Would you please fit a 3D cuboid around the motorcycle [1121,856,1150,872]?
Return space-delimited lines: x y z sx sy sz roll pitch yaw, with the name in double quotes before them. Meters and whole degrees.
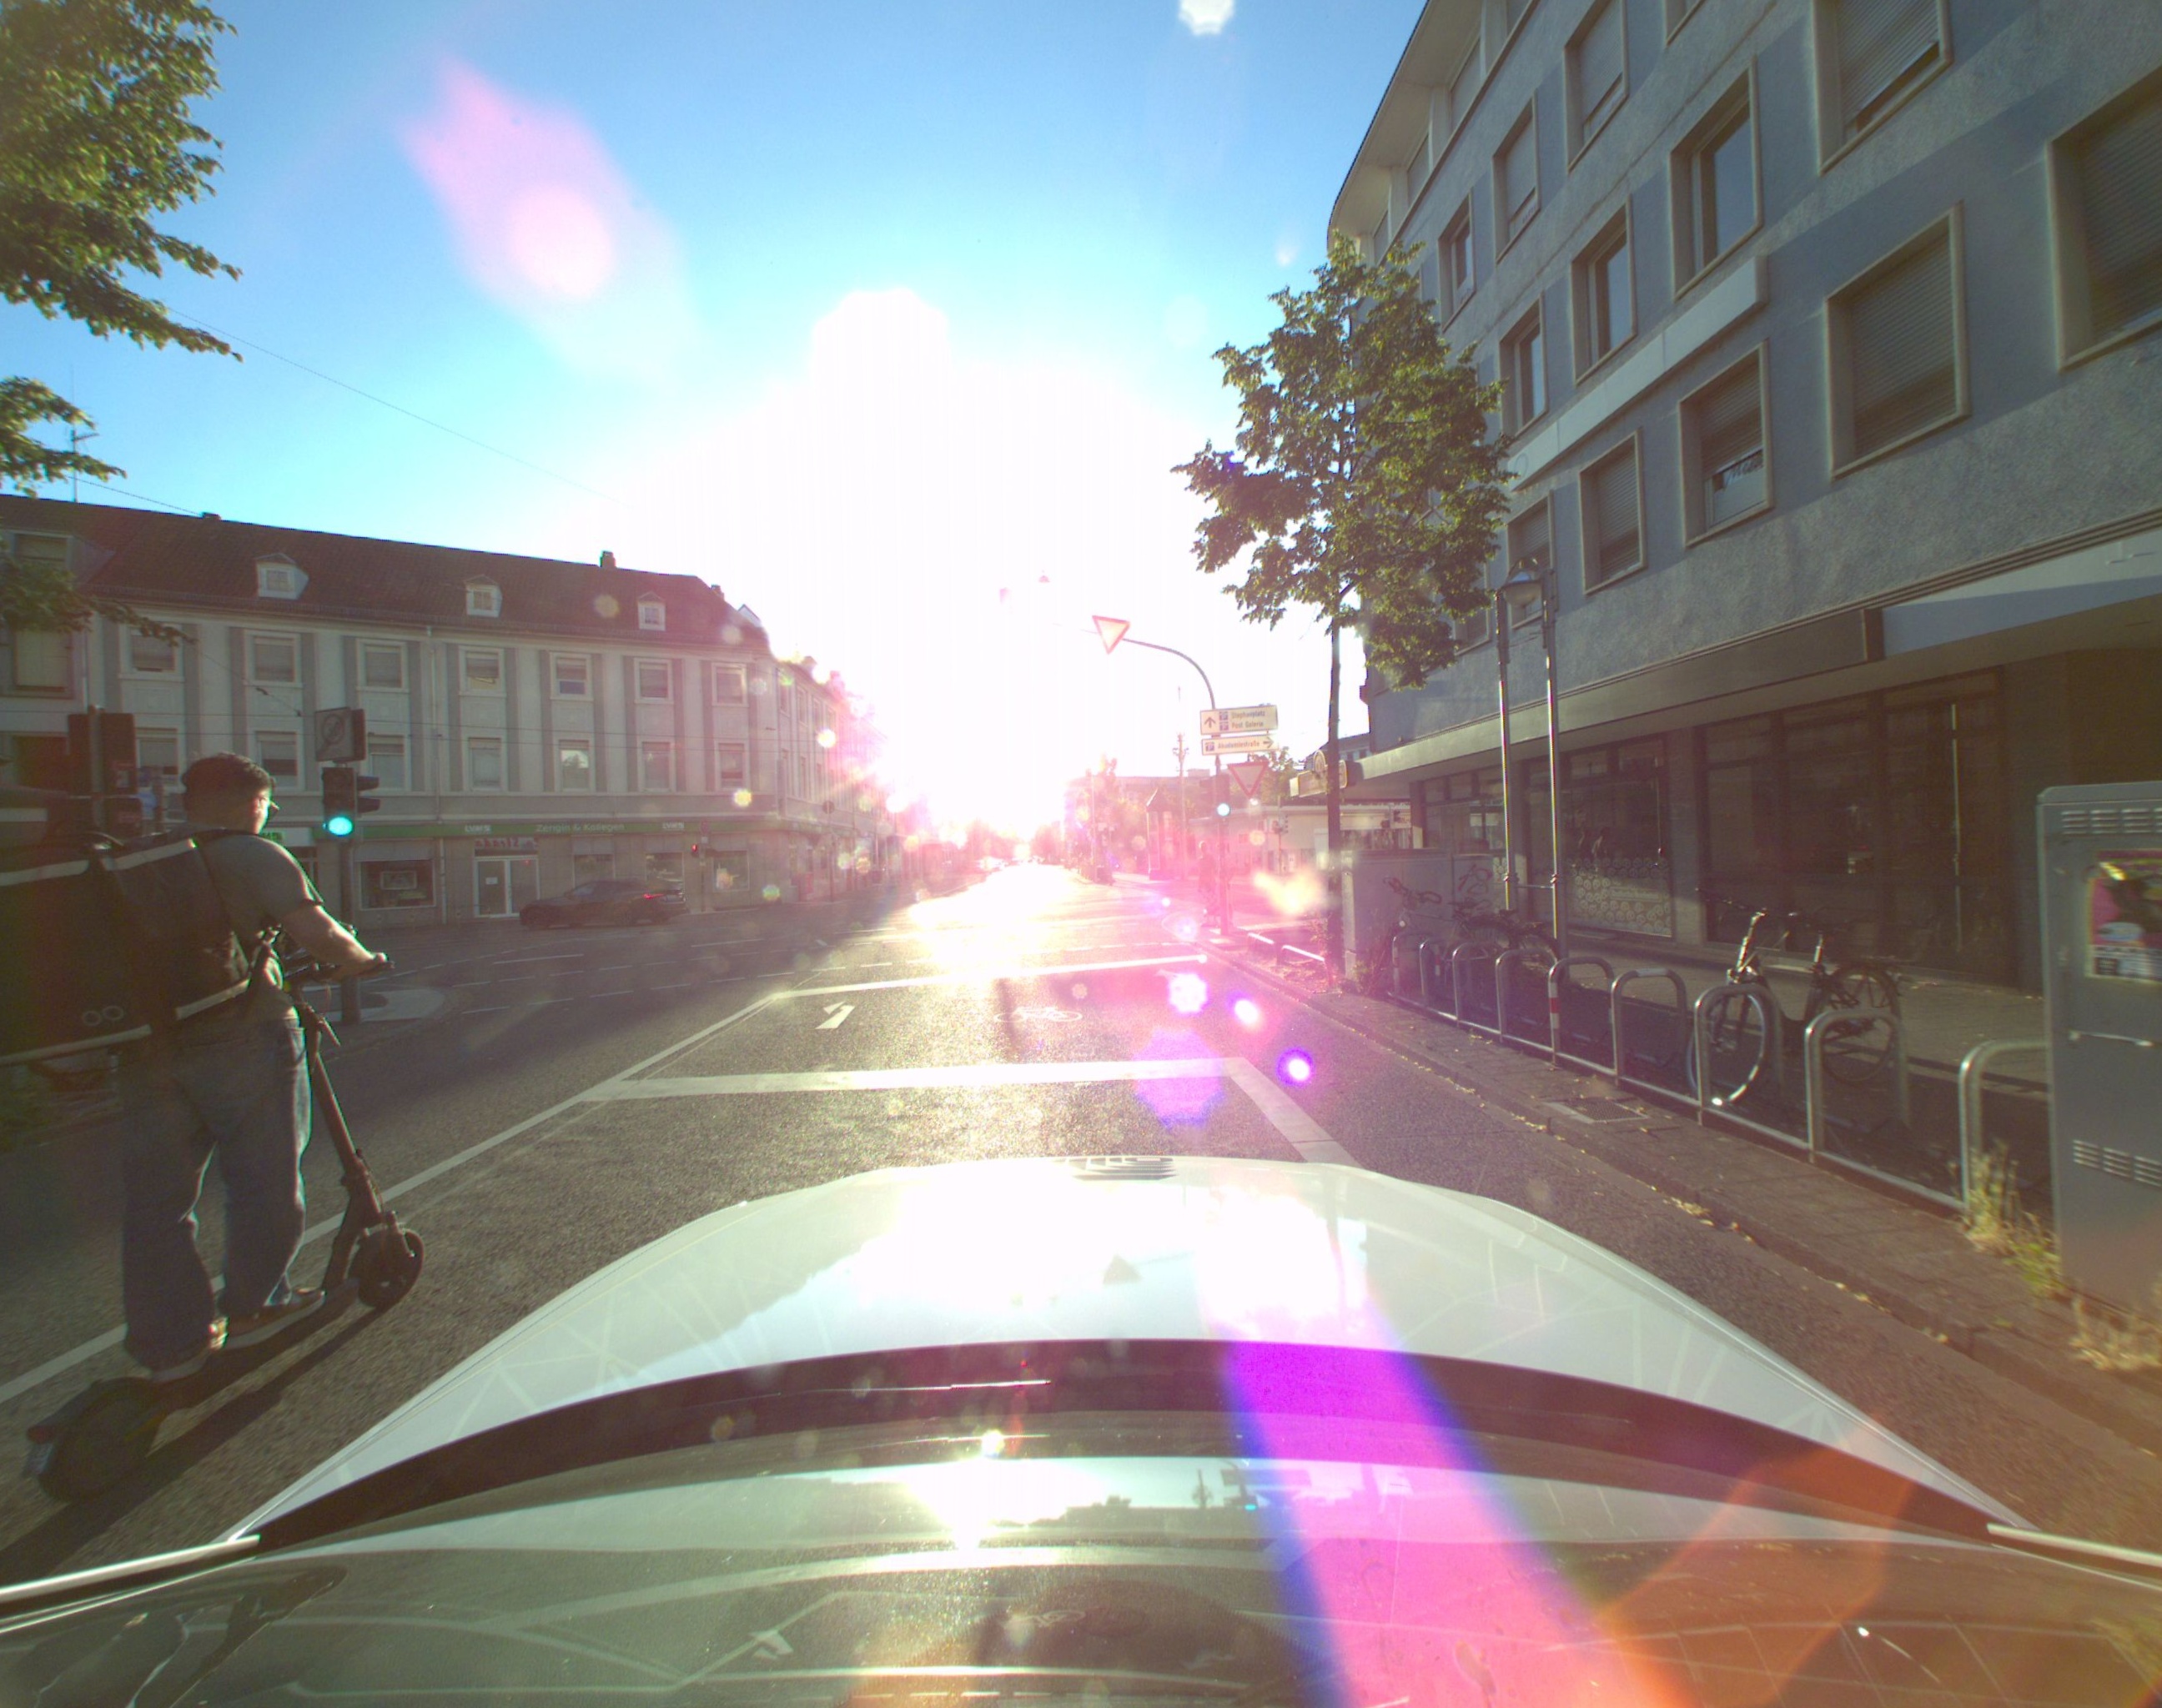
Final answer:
"motorcycle" 4.290 0.797 64.209 2.226 1.201 0.720 -2 0 1

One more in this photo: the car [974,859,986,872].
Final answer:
"car" -13.282 1.517 107.161 1.304 1.582 2.884 -1 -1 -4

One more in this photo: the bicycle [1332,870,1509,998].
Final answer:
"bicycle" 3.482 0.797 8.374 1.656 1.194 0.476 -2 0 -9

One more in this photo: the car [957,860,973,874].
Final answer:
"car" -13.081 1.496 91.827 1.542 1.484 3.347 -2 0 -4

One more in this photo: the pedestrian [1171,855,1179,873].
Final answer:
"pedestrian" 8.610 0.927 74.536 0.677 1.657 0.696 -1 -1 4

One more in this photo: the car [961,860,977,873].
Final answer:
"car" -13.101 1.512 95.473 1.542 1.469 3.347 -1 -1 -4

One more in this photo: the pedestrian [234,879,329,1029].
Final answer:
"pedestrian" -9.395 1.131 9.595 0.588 1.656 0.792 -2 -1 -31

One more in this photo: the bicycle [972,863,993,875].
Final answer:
"bicycle" -10.327 1.571 85.122 2.101 1.204 0.502 -1 -1 17

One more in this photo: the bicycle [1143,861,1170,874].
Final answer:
"bicycle" 5.807 1.039 62.682 2.029 0.977 0.560 -2 -1 4

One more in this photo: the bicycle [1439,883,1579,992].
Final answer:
"bicycle" 4.646 0.860 8.971 0.403 1.010 1.665 -4 0 -9

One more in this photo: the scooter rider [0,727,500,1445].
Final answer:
"scooter rider" -2.457 0.583 2.473 0.809 1.807 0.787 0 -1 -3

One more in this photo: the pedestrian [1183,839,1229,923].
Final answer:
"pedestrian" 2.727 0.586 17.835 0.589 1.773 0.741 -2 -1 -34

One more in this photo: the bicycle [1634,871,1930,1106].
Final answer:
"bicycle" 4.159 0.731 4.831 1.660 1.194 0.491 -2 0 -17

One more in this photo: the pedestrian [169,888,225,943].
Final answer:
"pedestrian" -28.408 1.961 26.183 0.811 1.640 0.825 -2 1 -11

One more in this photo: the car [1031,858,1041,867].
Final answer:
"car" -9.681 1.818 176.710 1.988 2.014 3.996 0 -1 -2

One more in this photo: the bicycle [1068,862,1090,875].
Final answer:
"bicycle" -0.186 1.407 79.022 2.102 1.204 0.502 -1 -1 14

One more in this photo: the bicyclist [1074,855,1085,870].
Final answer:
"bicyclist" -0.148 0.824 79.017 0.892 1.482 0.738 -1 -1 14

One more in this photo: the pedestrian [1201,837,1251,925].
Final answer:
"pedestrian" 3.017 0.546 16.975 0.640 1.773 0.743 -2 0 -24

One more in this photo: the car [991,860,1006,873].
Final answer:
"car" -9.269 1.405 91.411 1.542 1.468 3.347 -1 -1 -4

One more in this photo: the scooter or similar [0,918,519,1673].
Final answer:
"scooter or similar" -2.437 0.933 2.322 0.543 1.350 1.667 -2 0 -3

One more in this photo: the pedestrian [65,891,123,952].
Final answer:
"pedestrian" -29.582 2.000 24.422 0.815 1.728 0.820 -2 1 -28

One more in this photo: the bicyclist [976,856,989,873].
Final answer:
"bicyclist" -10.298 1.120 85.131 1.120 1.791 0.768 -1 -1 18

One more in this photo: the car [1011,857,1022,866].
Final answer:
"car" -12.999 1.559 164.080 1.988 1.684 3.997 -2 0 -2

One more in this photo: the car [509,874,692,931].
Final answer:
"car" -14.586 1.464 24.846 4.503 1.480 1.900 -3 -1 7

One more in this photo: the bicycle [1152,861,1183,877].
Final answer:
"bicycle" 5.875 1.015 55.343 2.011 1.044 0.560 -2 -1 4

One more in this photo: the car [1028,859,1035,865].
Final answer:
"car" -14.785 2.339 245.346 1.988 1.816 3.997 0 -1 -2

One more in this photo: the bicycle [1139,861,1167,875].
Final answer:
"bicycle" 5.397 1.026 61.163 2.068 0.982 0.560 -2 -1 4
